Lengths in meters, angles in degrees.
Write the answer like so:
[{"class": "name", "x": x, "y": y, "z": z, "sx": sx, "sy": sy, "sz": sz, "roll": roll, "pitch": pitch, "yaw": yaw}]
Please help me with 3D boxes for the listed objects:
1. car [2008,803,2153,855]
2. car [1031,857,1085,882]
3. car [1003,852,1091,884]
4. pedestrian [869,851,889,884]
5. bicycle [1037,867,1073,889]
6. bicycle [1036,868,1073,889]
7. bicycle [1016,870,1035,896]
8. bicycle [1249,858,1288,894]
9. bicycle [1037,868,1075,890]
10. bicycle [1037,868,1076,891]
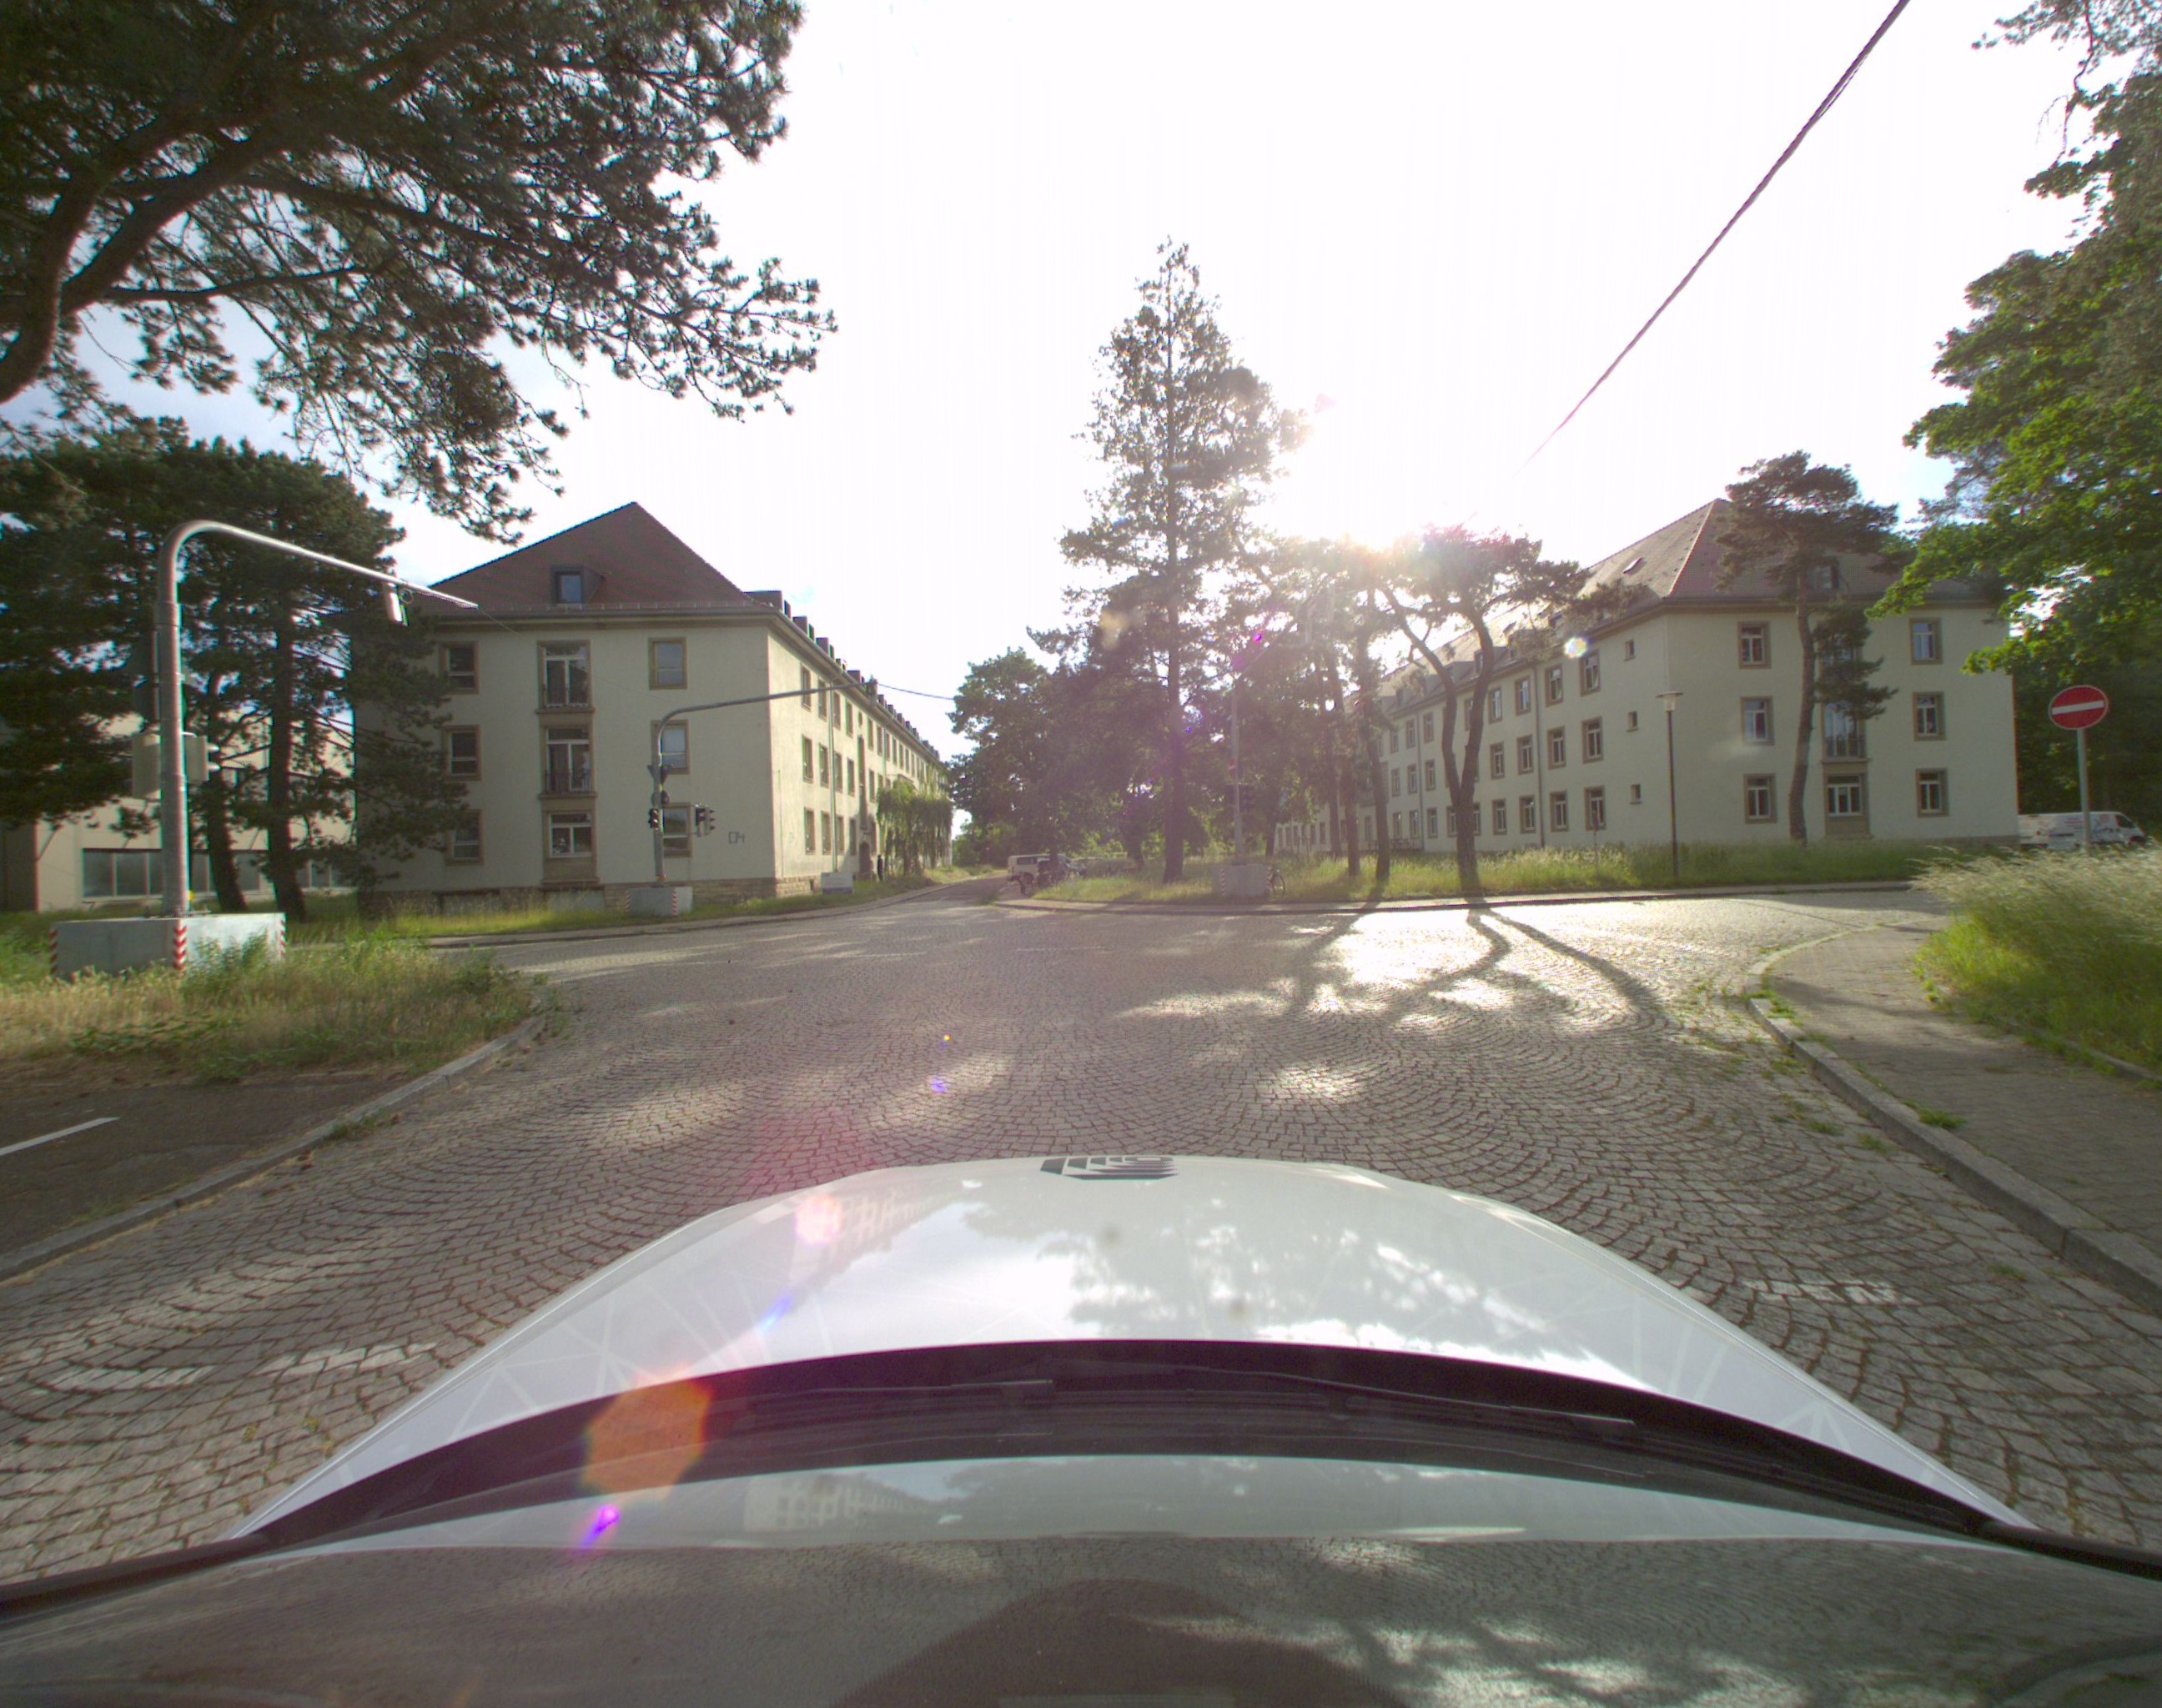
[{"class": "car", "x": 53.879, "y": -1.325, "z": 43.960, "sx": 5.145, "sy": 2.536, "sz": 2.262, "roll": -2, "pitch": -1, "yaw": -2}, {"class": "car", "x": -1.437, "y": 0.988, "z": 50.849, "sx": 3.038, "sy": 1.465, "sz": 1.710, "roll": -2, "pitch": -2, "yaw": -16}, {"class": "car", "x": -2.286, "y": 0.938, "z": 54.365, "sx": 5.514, "sy": 1.916, "sz": 2.241, "roll": -2, "pitch": -1, "yaw": -17}, {"class": "pedestrian", "x": -12.454, "y": 0.839, "z": 50.139, "sx": 0.983, "sy": 1.963, "sz": 0.931, "roll": -2, "pitch": -1, "yaw": -4}, {"class": "bicycle", "x": -1.359, "y": 1.237, "z": 41.733, "sx": 1.789, "sy": 0.999, "sz": 0.643, "roll": -2, "pitch": 0, "yaw": -5}, {"class": "bicycle", "x": -1.329, "y": 1.227, "z": 40.996, "sx": 1.789, "sy": 0.999, "sz": 0.643, "roll": -2, "pitch": 0, "yaw": -5}, {"class": "bicycle", "x": -2.351, "y": 1.208, "z": 34.815, "sx": 0.726, "sy": 0.999, "sz": 1.797, "roll": -2, "pitch": 1, "yaw": -3}, {"class": "bicycle", "x": 5.680, "y": 0.650, "z": 24.736, "sx": 0.562, "sy": 0.999, "sz": 1.748, "roll": -2, "pitch": 1, "yaw": -7}, {"class": "bicycle", "x": -1.219, "y": 1.203, "z": 39.501, "sx": 1.789, "sy": 0.999, "sz": 0.643, "roll": -2, "pitch": 0, "yaw": -5}, {"class": "bicycle", "x": -1.166, "y": 1.186, "z": 38.483, "sx": 1.789, "sy": 0.999, "sz": 0.643, "roll": -2, "pitch": 0, "yaw": -5}]
